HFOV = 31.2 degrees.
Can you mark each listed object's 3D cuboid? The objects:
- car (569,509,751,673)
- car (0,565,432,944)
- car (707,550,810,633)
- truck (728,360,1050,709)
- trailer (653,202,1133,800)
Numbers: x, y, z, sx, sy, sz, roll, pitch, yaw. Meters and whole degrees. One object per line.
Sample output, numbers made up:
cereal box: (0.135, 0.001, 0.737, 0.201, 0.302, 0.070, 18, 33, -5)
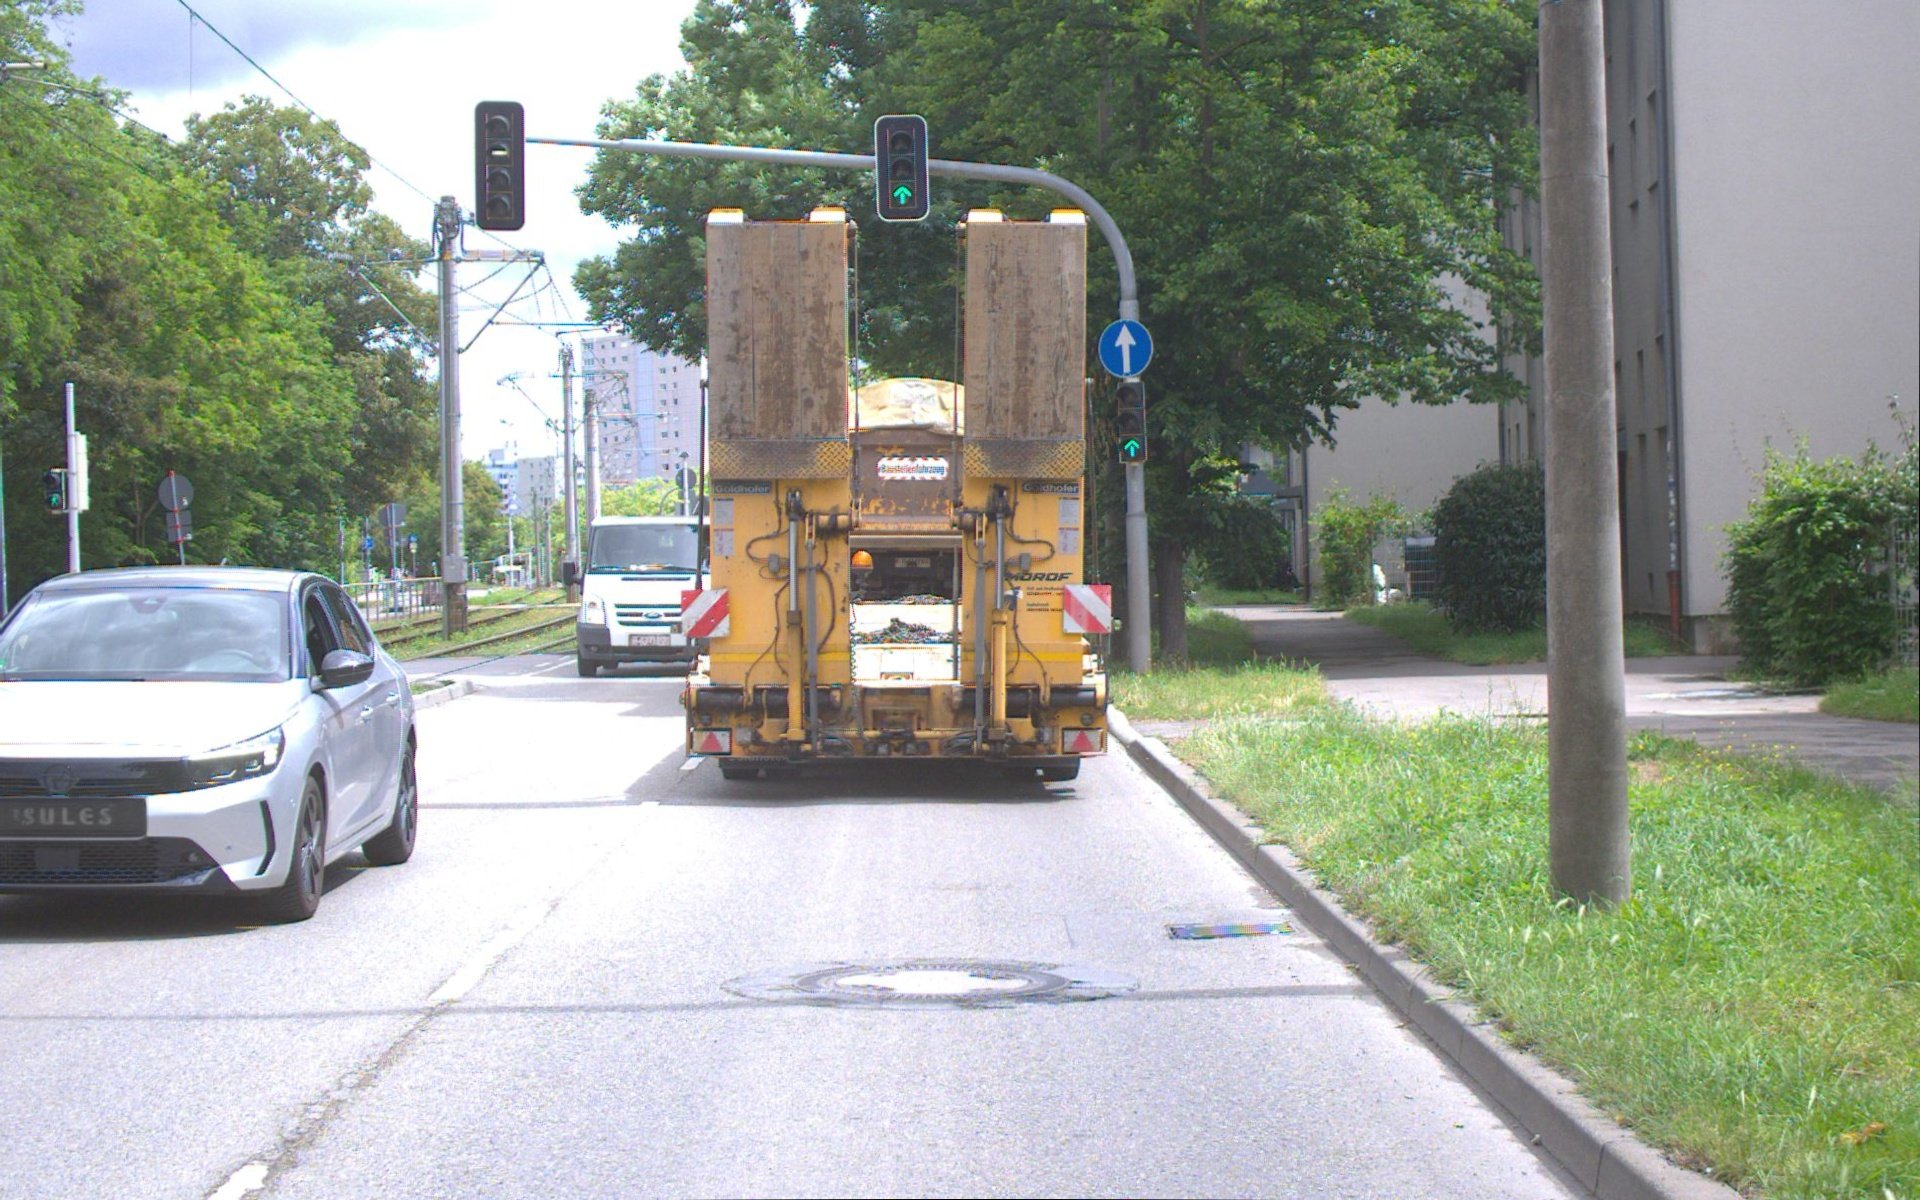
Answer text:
car: (-3.706, -0.147, 43.126, 1.942, 1.933, 4.317, 0, 1, -1)
car: (-3.482, 0.574, 15.158, 1.730, 1.412, 3.984, 0, 1, -1)
car: (-3.732, -0.177, 64.220, 1.680, 1.445, 4.074, -2, 1, -1)
truck: (-0.718, -0.666, 35.115, 2.917, 3.156, 7.681, 0, 1, -1)
trailer: (-0.547, -0.674, 25.775, 2.822, 3.512, 11.053, 0, 1, -2)
